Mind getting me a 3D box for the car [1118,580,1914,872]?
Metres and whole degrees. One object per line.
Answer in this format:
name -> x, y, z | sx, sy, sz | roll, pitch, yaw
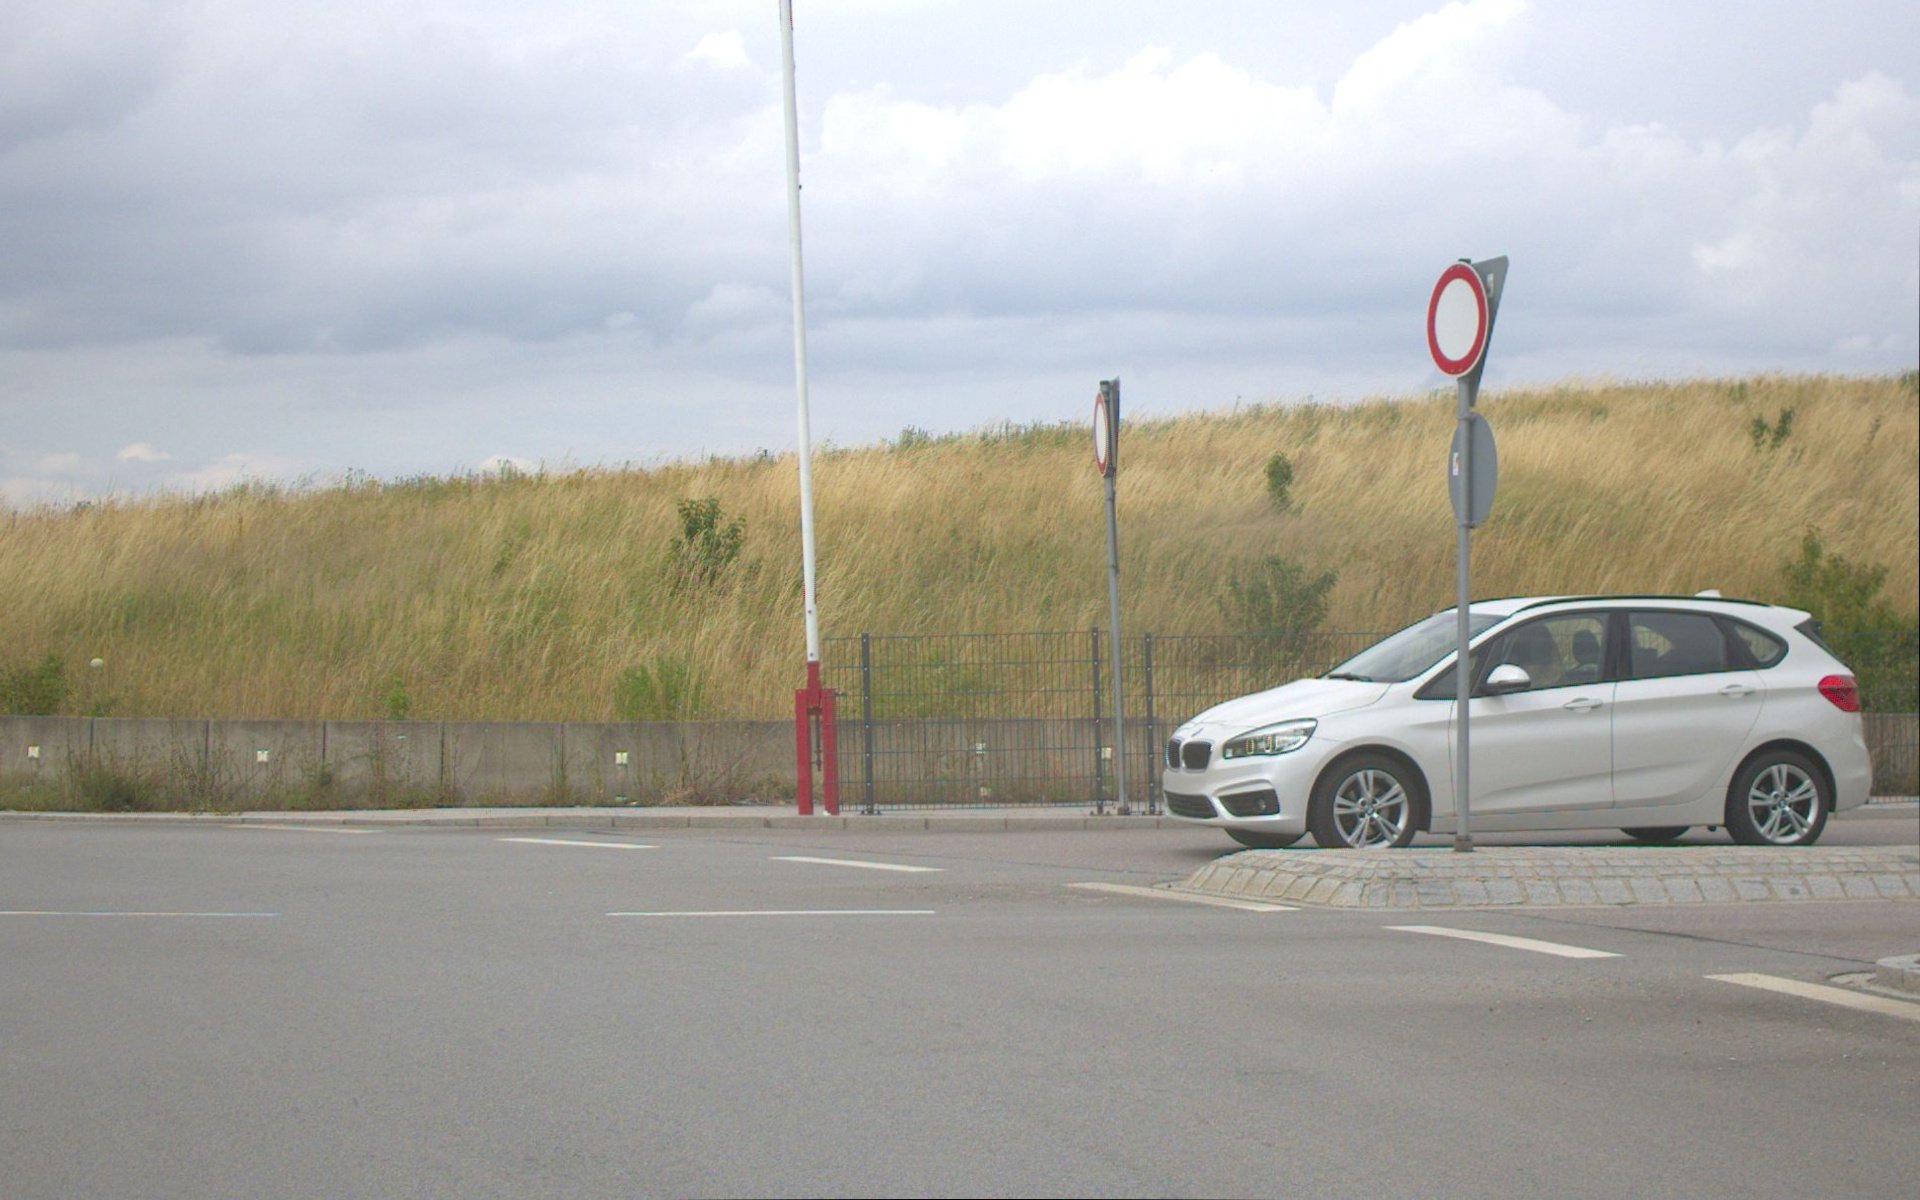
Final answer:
car -> 3.348, 0.734, 20.922 | 4.411, 1.623, 1.785 | 1, 1, -16
